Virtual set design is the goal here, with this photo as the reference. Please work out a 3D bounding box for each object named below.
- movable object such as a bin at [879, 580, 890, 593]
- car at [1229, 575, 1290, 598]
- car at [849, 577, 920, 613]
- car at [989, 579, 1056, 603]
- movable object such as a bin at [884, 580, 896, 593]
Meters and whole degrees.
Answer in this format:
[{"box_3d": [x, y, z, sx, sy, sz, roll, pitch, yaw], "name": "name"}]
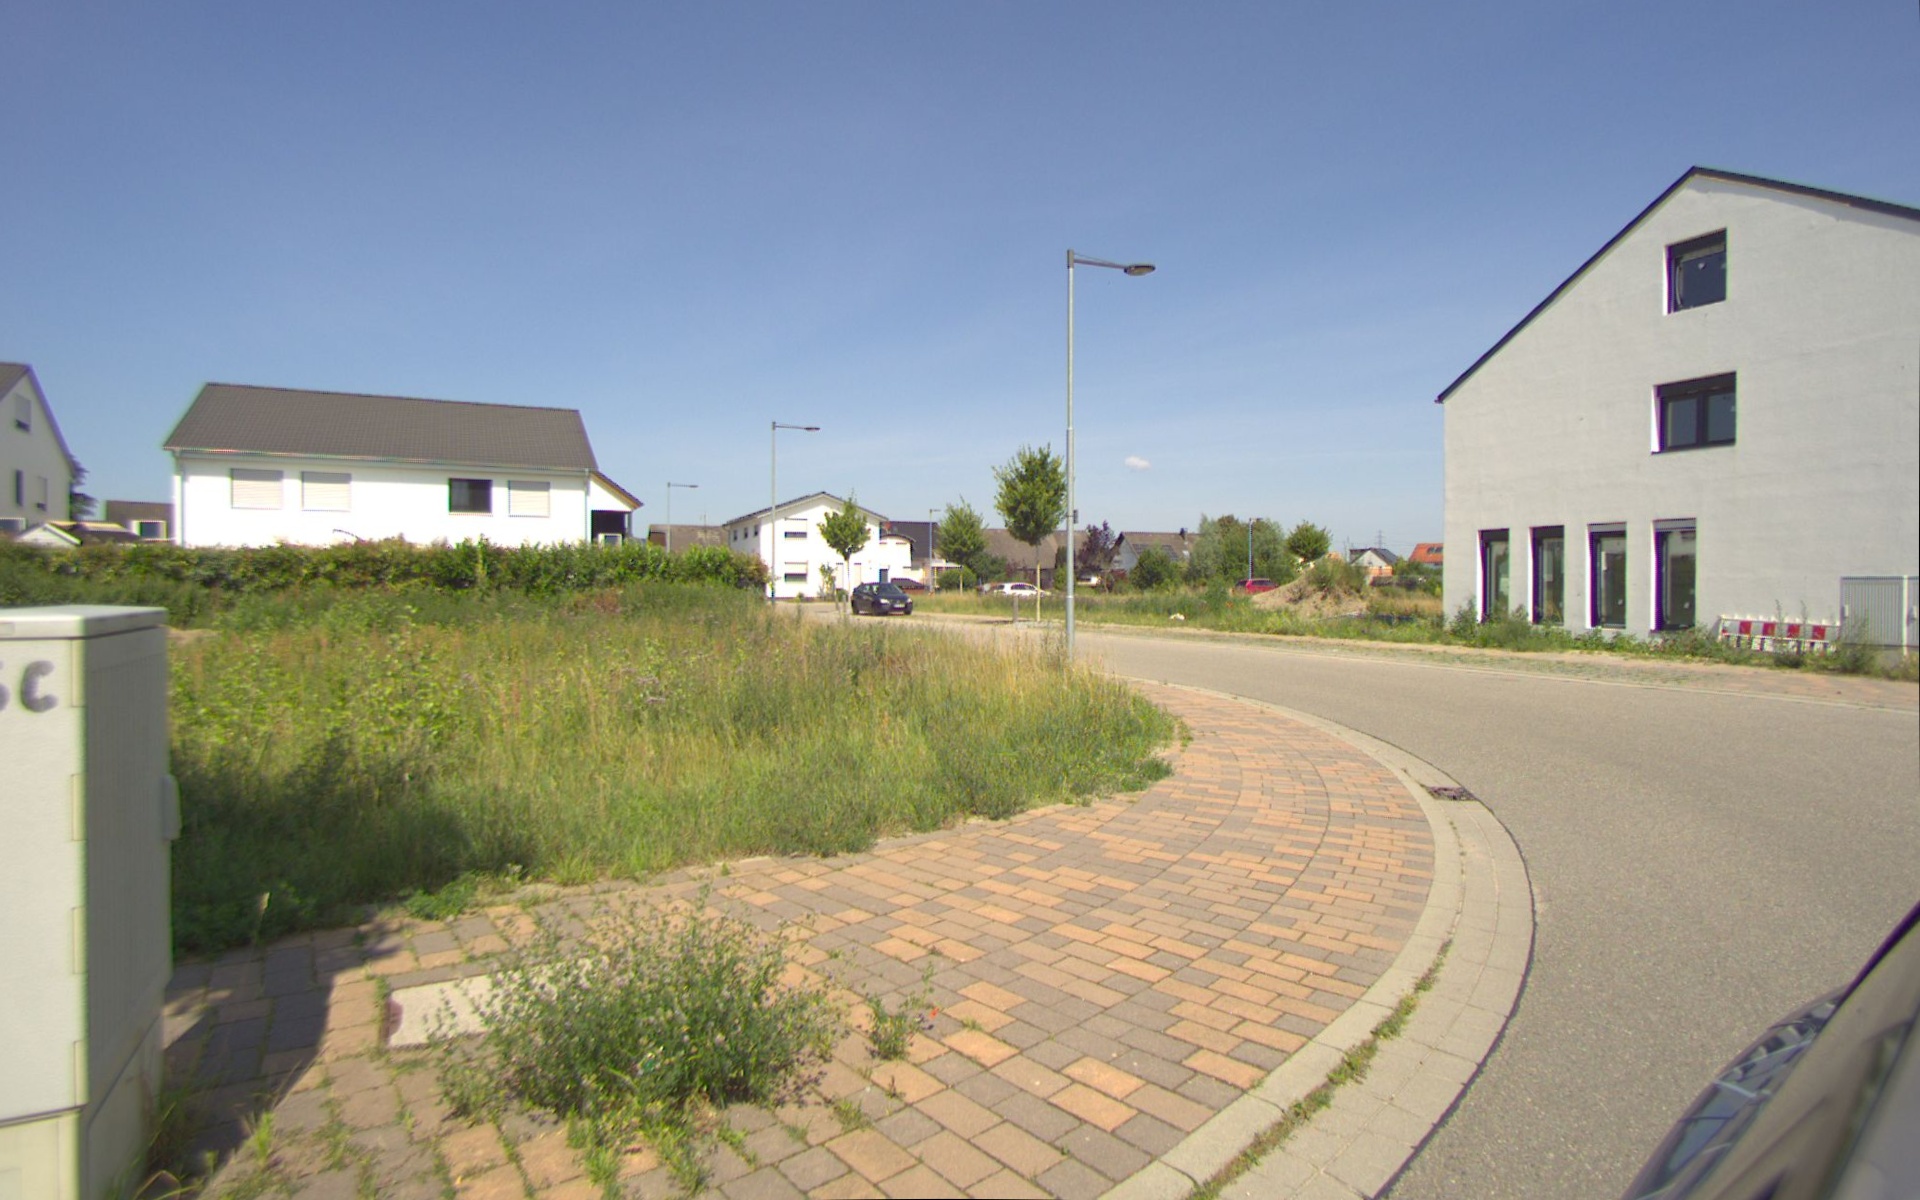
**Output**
[{"box_3d": [-5.864, -1.065, 78.527, 0.671, 1.017, 0.742, 0, 1, -22], "name": "movable object such as a bin"}, {"box_3d": [21.426, -0.995, 72.416, 3.917, 1.636, 1.813, 0, 1, -23], "name": "car"}, {"box_3d": [-3.448, -0.256, 45.535, 1.780, 1.472, 4.152, -2, 2, -24], "name": "car"}, {"box_3d": [4.028, -0.621, 65.265, 3.916, 1.521, 1.813, 0, 1, -20], "name": "car"}, {"box_3d": [-5.399, -1.046, 77.834, 0.671, 1.017, 0.742, 0, 1, -22], "name": "movable object such as a bin"}]
